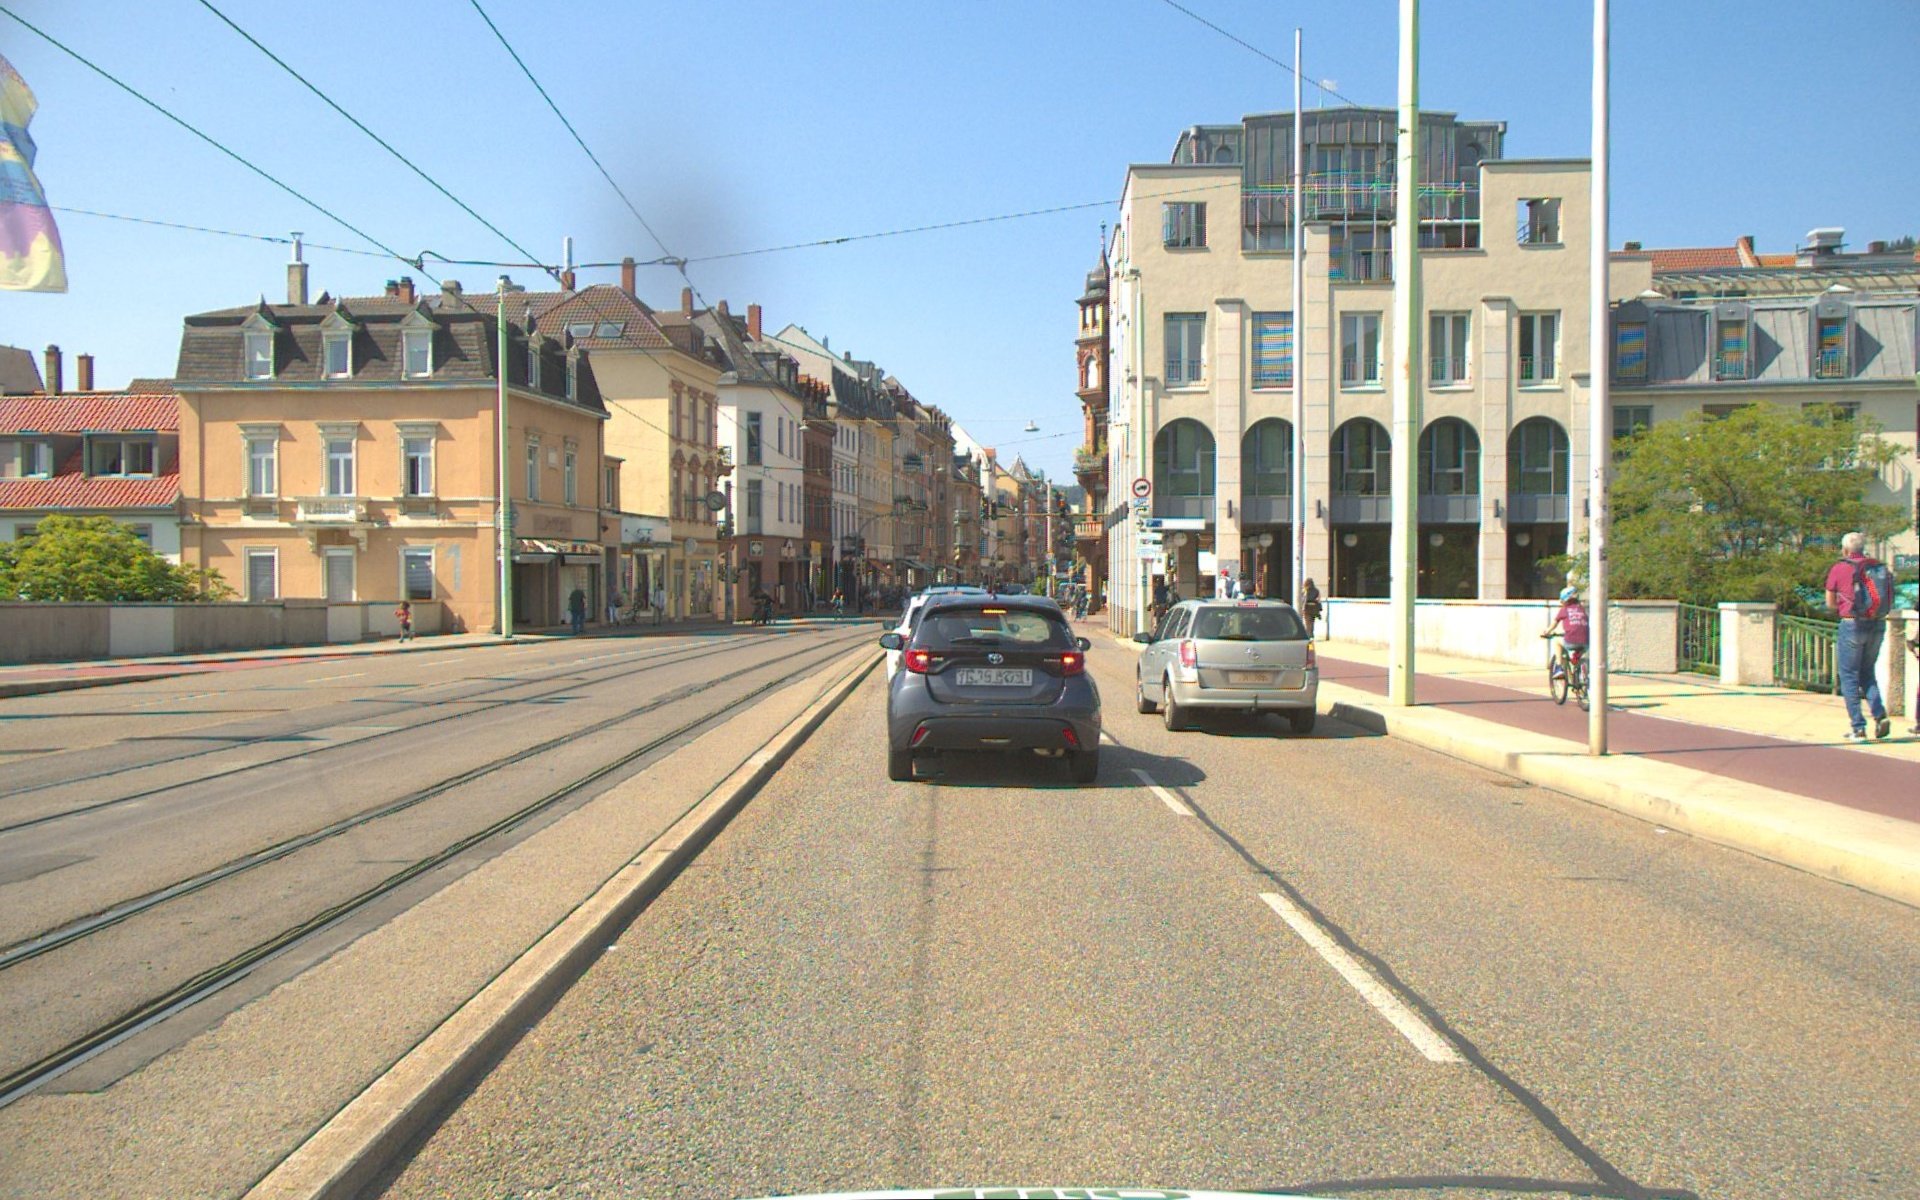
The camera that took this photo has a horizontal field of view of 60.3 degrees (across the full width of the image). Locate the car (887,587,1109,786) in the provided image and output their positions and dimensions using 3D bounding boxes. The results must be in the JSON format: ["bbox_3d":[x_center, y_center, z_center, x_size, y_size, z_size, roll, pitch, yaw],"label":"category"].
[{"bbox_3d":[0.272,0.658,14.557,1.685,1.499,3.657,1,0,-1],"label":"car"}]

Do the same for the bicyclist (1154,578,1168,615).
[{"bbox_3d":[7.149,-0.117,58.740,0.413,1.278,0.443,-2,0,2],"label":"bicyclist"}]

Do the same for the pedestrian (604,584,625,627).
[{"bbox_3d":[-13.563,0.224,64.949,0.636,1.629,0.566,4,2,0],"label":"pedestrian"}]

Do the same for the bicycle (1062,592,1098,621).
[{"bbox_3d":[6.431,0.344,88.742,1.092,1.444,2.999,4,0,-11],"label":"bicycle"}]

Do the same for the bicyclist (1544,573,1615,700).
[{"bbox_3d":[7.080,0.406,18.924,0.523,1.407,0.669,-2,0,-1],"label":"bicyclist"}]

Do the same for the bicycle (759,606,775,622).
[{"bbox_3d":[-10.025,0.725,85.777,0.607,0.728,1.771,1,1,0],"label":"bicycle"}]

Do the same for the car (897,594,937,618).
[{"bbox_3d":[-2.665,0.378,103.692,1.694,1.486,4.377,0,0,9],"label":"car"}]

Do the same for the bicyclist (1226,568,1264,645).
[{"bbox_3d":[6.505,0.155,37.788,0.687,1.725,0.924,-1,0,0],"label":"bicyclist"}]

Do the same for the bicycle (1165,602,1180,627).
[{"bbox_3d":[6.992,0.483,54.442,0.407,0.779,1.206,-2,0,4],"label":"bicycle"}]

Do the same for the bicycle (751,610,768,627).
[{"bbox_3d":[-9.384,0.844,77.446,0.607,0.728,1.771,2,1,0],"label":"bicycle"}]

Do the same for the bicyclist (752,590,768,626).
[{"bbox_3d":[-9.377,0.362,77.428,0.614,1.679,0.622,2,1,0],"label":"bicyclist"}]

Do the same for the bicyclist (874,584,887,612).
[{"bbox_3d":[-4.749,-0.126,98.898,0.614,1.679,0.622,2,1,8],"label":"bicyclist"}]

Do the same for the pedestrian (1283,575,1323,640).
[{"bbox_3d":[8.958,0.191,43.206,0.724,1.642,1.015,4,0,-1],"label":"pedestrian"}]

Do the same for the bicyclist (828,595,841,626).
[{"bbox_3d":[-6.895,0.565,90.888,0.614,1.679,0.622,2,1,0],"label":"bicyclist"}]

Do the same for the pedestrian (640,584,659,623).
[{"bbox_3d":[-13.579,0.140,72.307,0.636,1.629,0.566,4,2,0],"label":"pedestrian"}]

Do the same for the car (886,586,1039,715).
[{"bbox_3d":[0.005,0.620,22.445,1.858,1.557,3.999,1,0,-1],"label":"car"}]

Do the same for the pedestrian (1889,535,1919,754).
[{"bbox_3d":[8.021,0.346,13.041,0.739,1.748,1.073,-2,0,-1],"label":"pedestrian"}]

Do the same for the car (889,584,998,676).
[{"bbox_3d":[-0.305,0.508,30.509,1.858,1.557,3.999,1,0,-1],"label":"car"}]

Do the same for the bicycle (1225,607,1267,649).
[{"bbox_3d":[6.518,0.634,37.775,0.689,0.898,1.525,-1,0,0],"label":"bicycle"}]

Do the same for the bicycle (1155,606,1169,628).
[{"bbox_3d":[7.177,0.596,58.792,0.407,0.779,0.962,-2,0,3],"label":"bicycle"}]

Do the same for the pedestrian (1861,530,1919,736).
[{"bbox_3d":[8.754,0.280,14.852,0.724,1.808,1.015,-2,0,-1],"label":"pedestrian"}]

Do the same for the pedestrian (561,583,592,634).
[{"bbox_3d":[-13.360,0.296,57.655,0.746,1.682,0.712,4,0,5],"label":"pedestrian"}]

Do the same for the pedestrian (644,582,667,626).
[{"bbox_3d":[-12.787,0.152,69.468,0.721,1.796,0.787,4,0,0],"label":"pedestrian"}]

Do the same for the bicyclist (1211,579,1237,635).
[{"bbox_3d":[7.085,0.184,44.444,0.480,1.492,0.437,-2,0,-39],"label":"bicyclist"}]

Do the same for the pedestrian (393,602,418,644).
[{"bbox_3d":[-15.684,0.646,46.797,0.403,1.166,0.545,4,0,4],"label":"pedestrian"}]

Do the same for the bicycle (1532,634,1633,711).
[{"bbox_3d":[7.091,0.808,18.895,0.503,0.779,1.660,-2,0,0],"label":"bicycle"}]

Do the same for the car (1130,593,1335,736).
[{"bbox_3d":[3.132,0.682,19.831,1.671,1.491,4.325,1,0,-1],"label":"car"}]

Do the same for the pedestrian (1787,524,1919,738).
[{"bbox_3d":[8.058,0.267,14.821,0.724,1.833,1.015,-2,0,-1],"label":"pedestrian"}]

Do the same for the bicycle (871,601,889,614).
[{"bbox_3d":[-4.777,0.433,98.904,0.607,0.728,2.047,2,1,9],"label":"bicycle"}]

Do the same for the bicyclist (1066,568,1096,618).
[{"bbox_3d":[6.473,-0.397,88.638,1.206,2.572,1.102,4,0,-12],"label":"bicyclist"}]

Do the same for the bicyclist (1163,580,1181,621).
[{"bbox_3d":[6.982,0.022,54.426,0.527,1.339,0.672,-2,0,5],"label":"bicyclist"}]

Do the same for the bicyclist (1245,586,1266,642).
[{"bbox_3d":[7.606,0.352,42.542,0.413,1.407,0.443,-2,0,-1],"label":"bicyclist"}]
